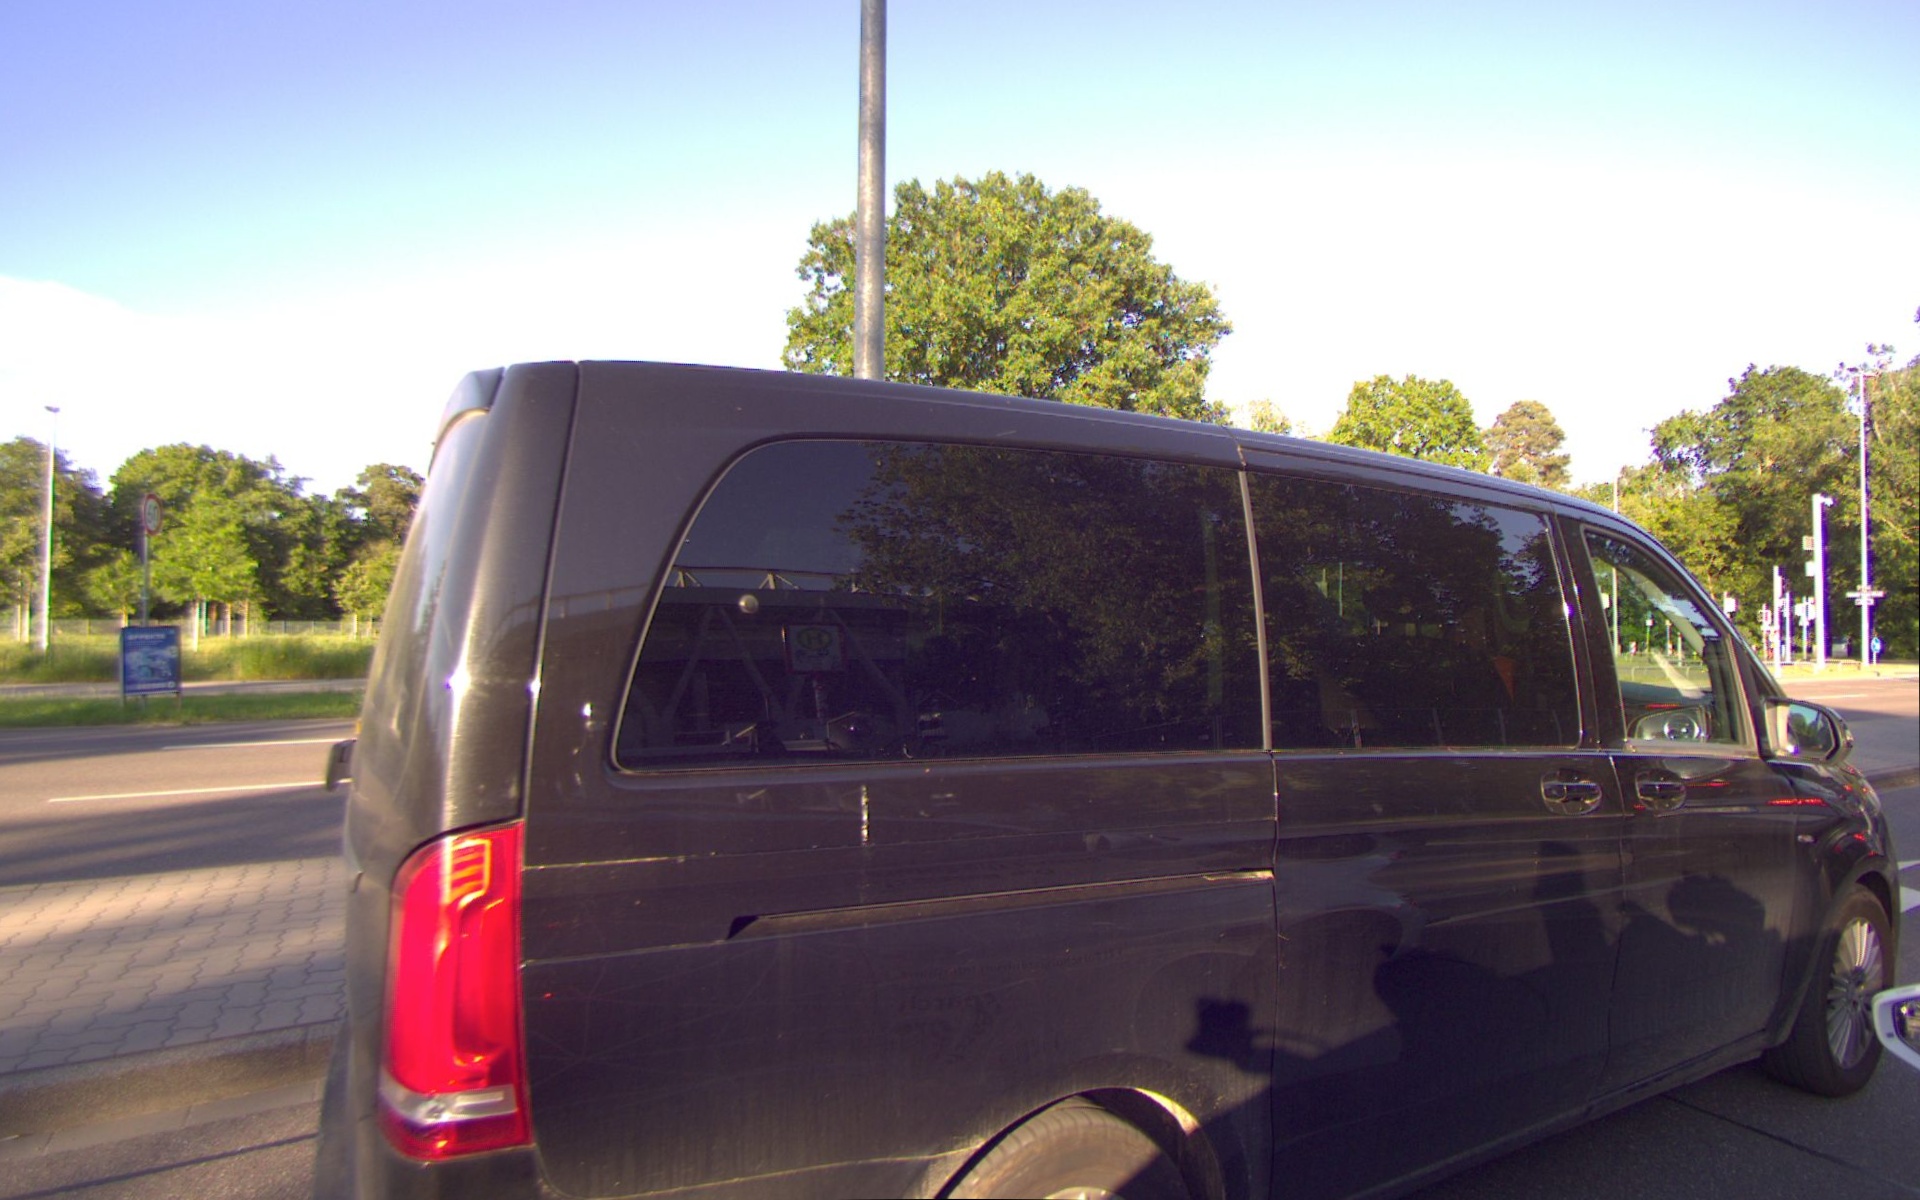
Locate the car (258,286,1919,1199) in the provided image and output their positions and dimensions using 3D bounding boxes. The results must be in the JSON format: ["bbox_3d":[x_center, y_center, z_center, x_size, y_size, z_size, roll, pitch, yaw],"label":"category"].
[{"bbox_3d":[0.926,0.599,3.034,4.817,1.881,1.897,-1,1,-31],"label":"car"}]

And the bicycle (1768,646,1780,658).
[{"bbox_3d":[42.701,2.720,52.672,0.831,0.589,0.264,2,0,-36],"label":"bicycle"}]

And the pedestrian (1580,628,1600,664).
[{"bbox_3d":[28.163,2.058,44.921,0.641,1.583,0.479,2,0,-30],"label":"pedestrian"}]

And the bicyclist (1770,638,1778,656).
[{"bbox_3d":[42.686,2.462,52.654,0.238,0.975,0.271,2,0,-36],"label":"bicyclist"}]

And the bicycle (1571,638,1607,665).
[{"bbox_3d":[28.132,2.299,44.919,1.980,1.193,0.466,2,0,-31],"label":"bicycle"}]

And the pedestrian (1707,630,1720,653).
[{"bbox_3d":[38.077,2.093,50.756,0.375,1.123,0.442,2,0,-36],"label":"pedestrian"}]

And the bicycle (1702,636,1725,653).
[{"bbox_3d":[38.079,2.265,50.772,1.265,0.810,0.574,2,0,-35],"label":"bicycle"}]
